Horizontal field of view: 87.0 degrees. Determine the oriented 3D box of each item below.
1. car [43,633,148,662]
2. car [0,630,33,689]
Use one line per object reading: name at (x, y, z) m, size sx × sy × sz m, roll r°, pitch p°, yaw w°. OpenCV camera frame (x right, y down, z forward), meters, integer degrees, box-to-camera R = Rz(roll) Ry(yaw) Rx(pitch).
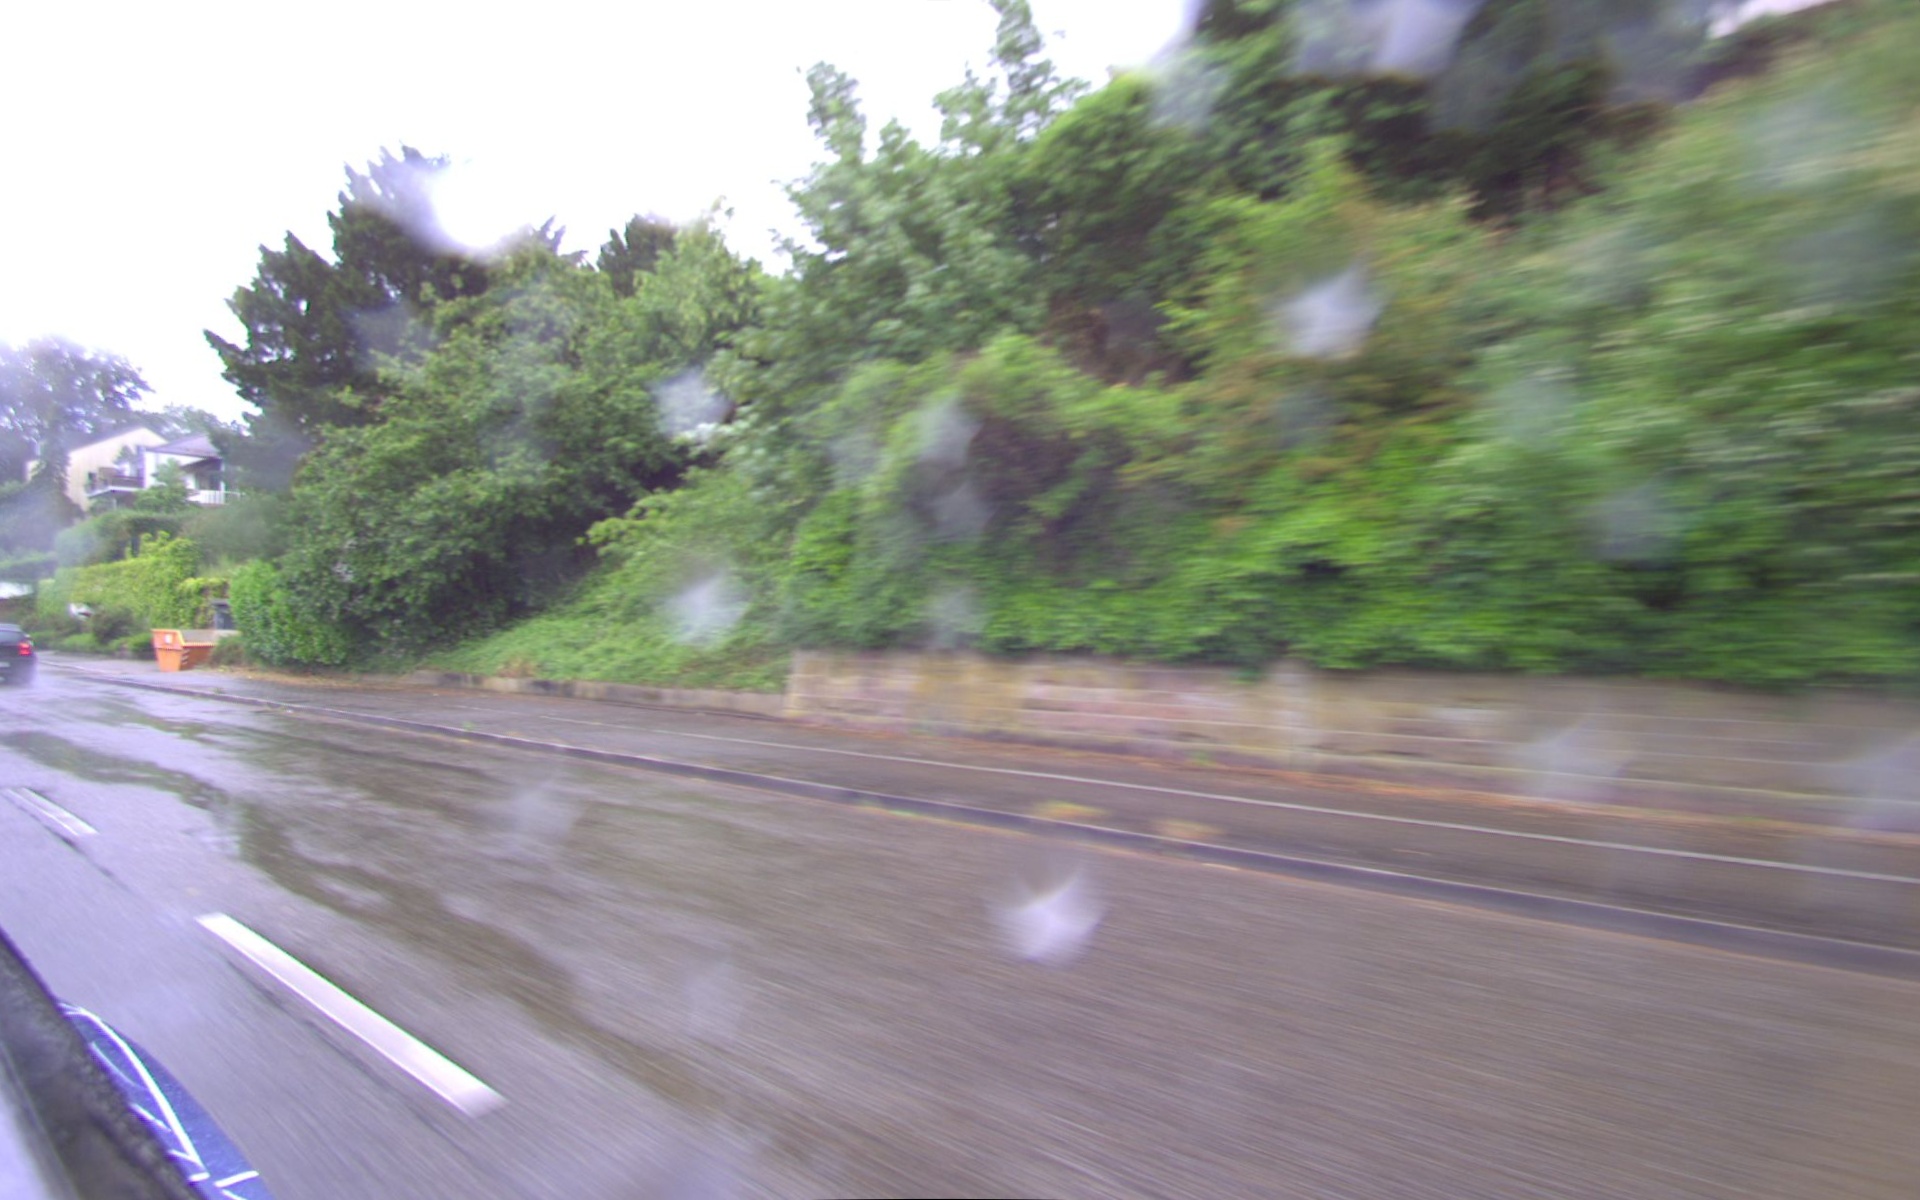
car at (-43.004, 2.348, 50.395) m, size 1.864 × 1.394 × 3.720 m, roll -2°, pitch -3°, yaw 39°
car at (-24.362, 1.442, 24.931) m, size 3.982 × 1.362 × 1.638 m, roll -1°, pitch -2°, yaw 39°
